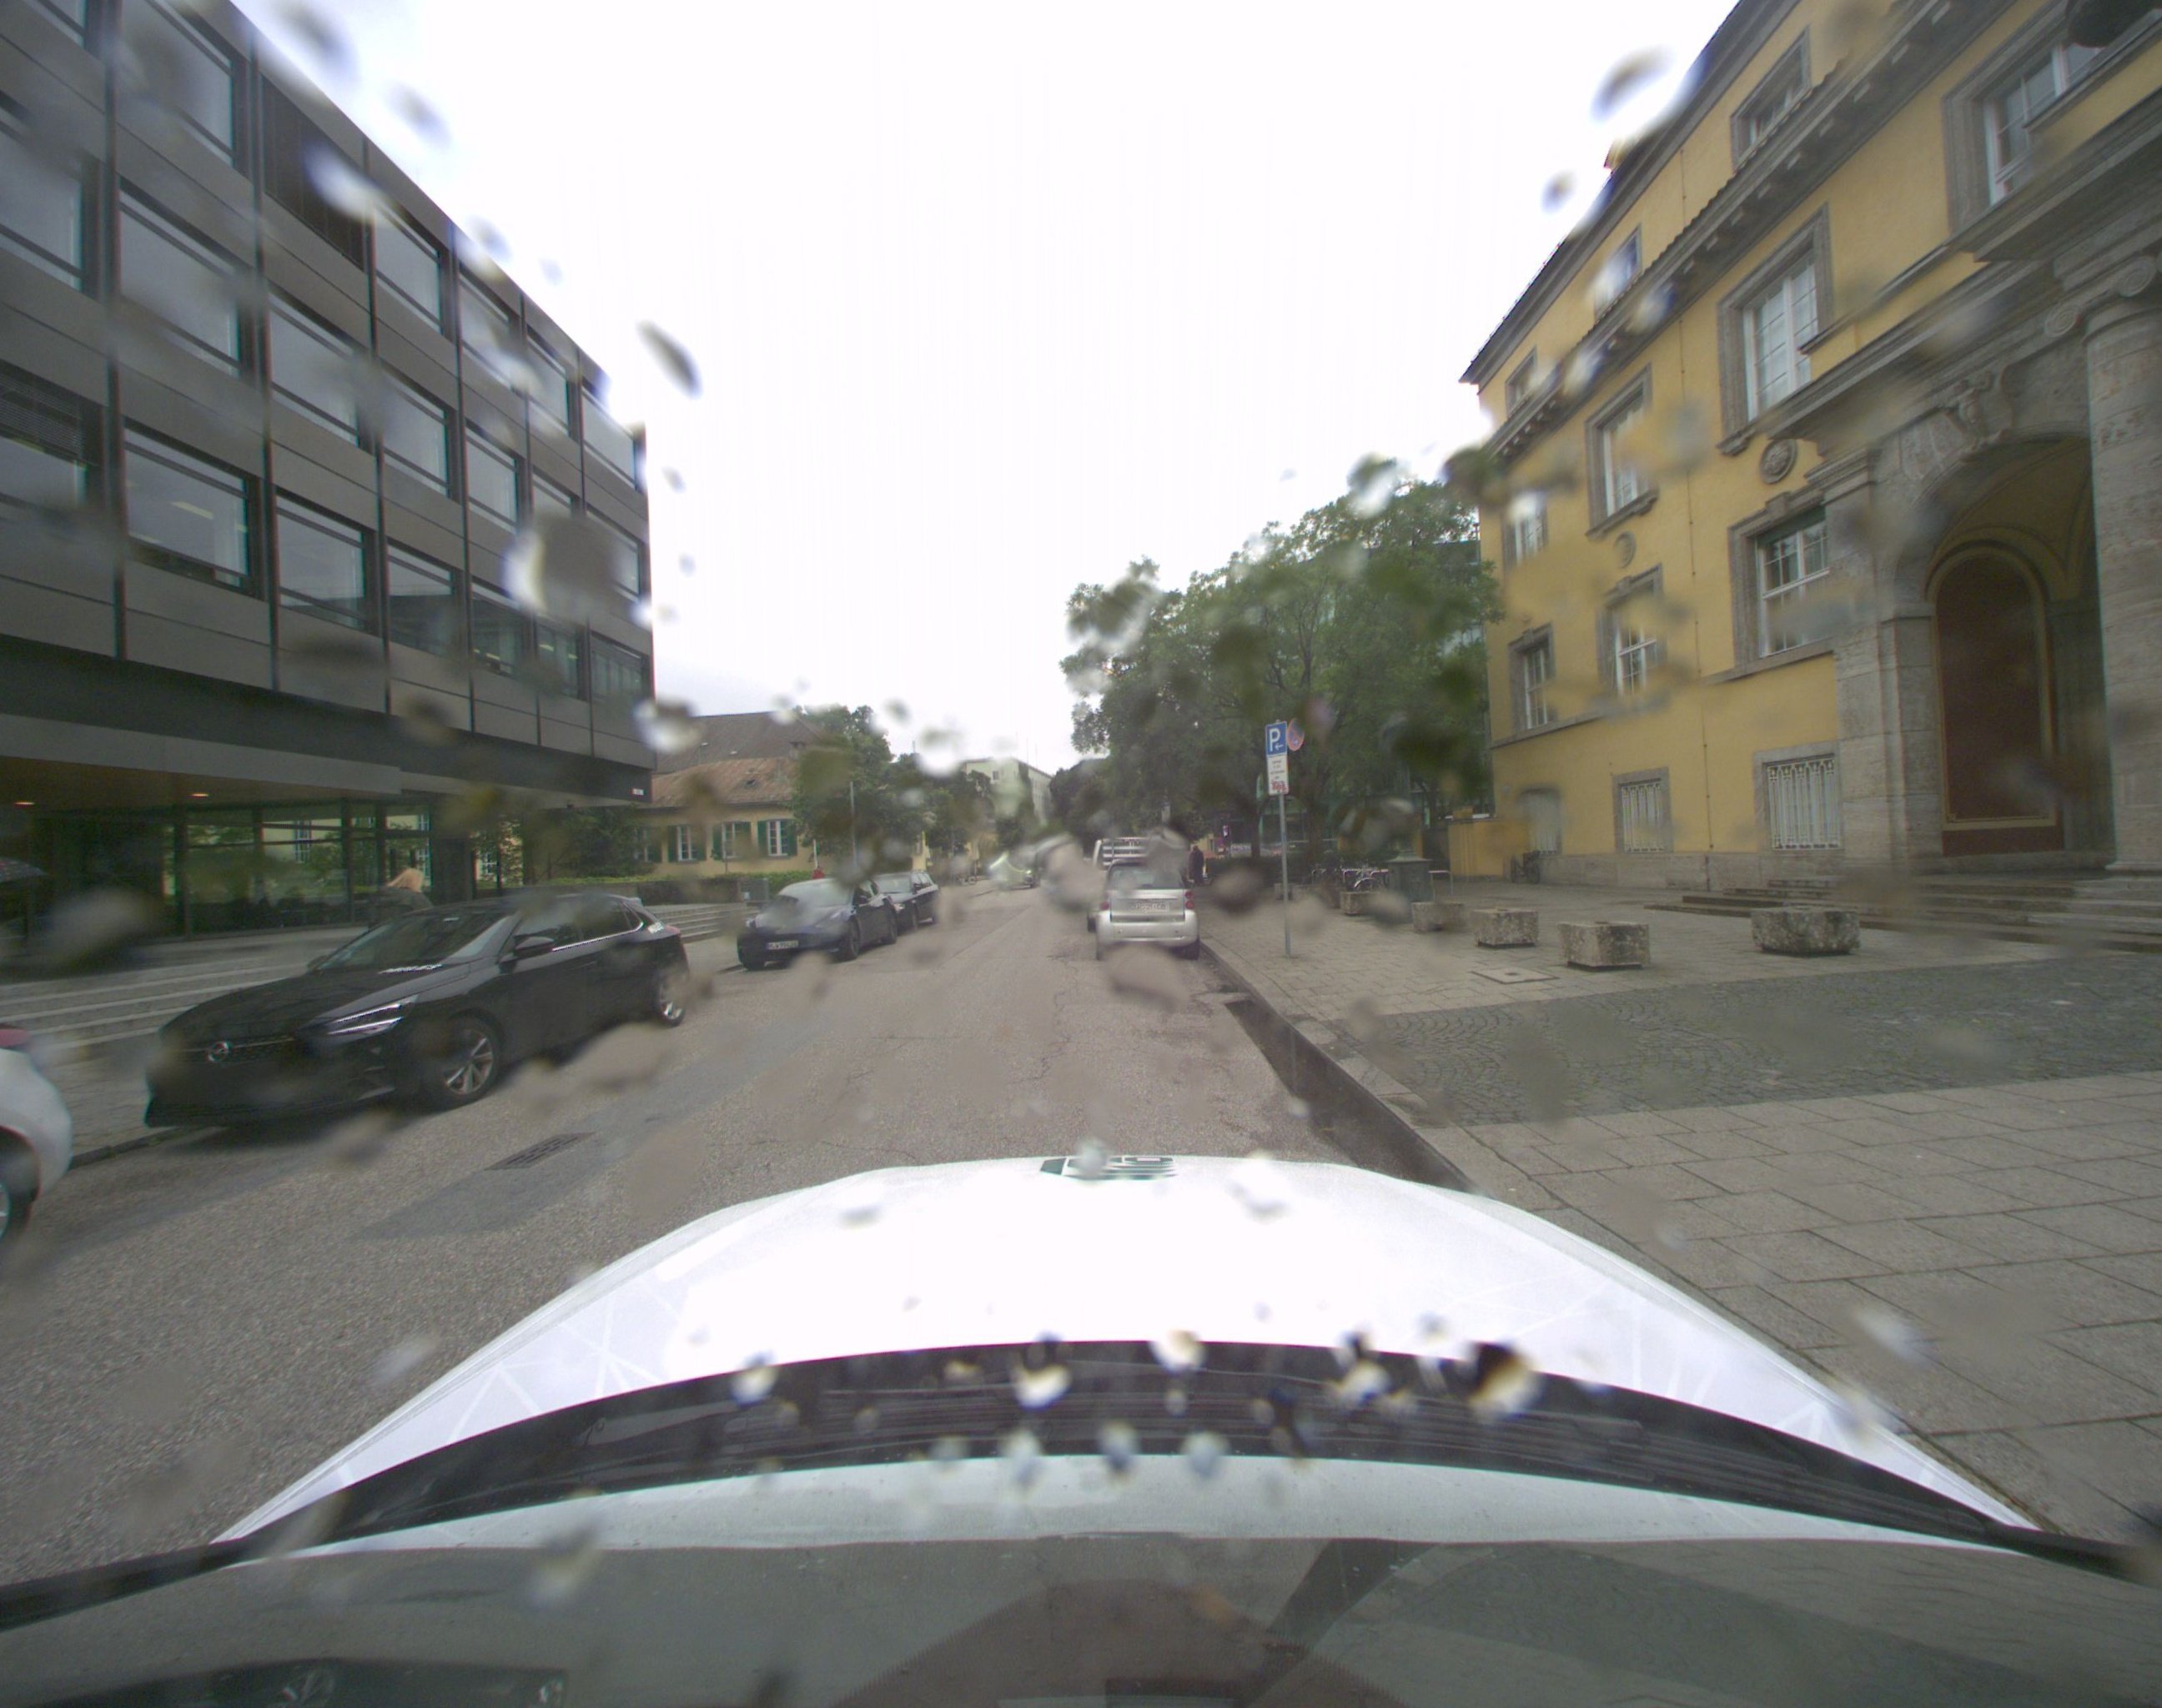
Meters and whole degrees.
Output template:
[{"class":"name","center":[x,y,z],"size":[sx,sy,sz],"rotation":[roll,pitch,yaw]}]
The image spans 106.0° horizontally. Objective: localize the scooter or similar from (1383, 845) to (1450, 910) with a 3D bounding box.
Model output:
[{"class":"scooter or similar","center":[6.558,0.469,15.941],"size":[0.541,1.222,1.000],"rotation":[-3,-1,-44]}]

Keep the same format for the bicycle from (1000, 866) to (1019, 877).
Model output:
[{"class":"bicycle","center":[-6.725,1.598,76.187],"size":[1.621,0.926,0.646],"rotation":[-2,-2,-23]}]

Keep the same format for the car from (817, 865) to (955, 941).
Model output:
[{"class":"car","center":[-4.696,1.127,20.458],"size":[1.986,1.491,4.886],"rotation":[-4,-1,2]}]

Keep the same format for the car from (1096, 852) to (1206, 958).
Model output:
[{"class":"car","center":[1.067,0.757,13.456],"size":[1.599,1.546,2.934],"rotation":[-1,0,1]}]

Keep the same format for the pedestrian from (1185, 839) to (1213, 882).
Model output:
[{"class":"pedestrian","center":[5.383,0.306,37.244],"size":[0.735,1.907,1.063],"rotation":[-4,-1,37]}]

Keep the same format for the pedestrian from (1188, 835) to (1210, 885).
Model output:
[{"class":"pedestrian","center":[5.221,0.251,36.034],"size":[0.740,2.134,1.056],"rotation":[-3,-1,1]}]

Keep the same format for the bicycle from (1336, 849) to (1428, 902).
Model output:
[{"class":"bicycle","center":[7.062,0.500,19.167],"size":[1.923,1.113,0.472],"rotation":[-4,-1,3]}]

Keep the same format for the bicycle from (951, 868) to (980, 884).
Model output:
[{"class":"bicycle","center":[-8.093,1.513,57.068],"size":[1.922,1.099,0.615],"rotation":[-1,0,4]}]

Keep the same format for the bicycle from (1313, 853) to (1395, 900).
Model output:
[{"class":"bicycle","center":[7.188,0.584,21.487],"size":[1.923,1.113,0.472],"rotation":[-4,-1,3]}]

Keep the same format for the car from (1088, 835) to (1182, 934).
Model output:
[{"class":"car","center":[1.075,0.617,18.560],"size":[1.839,1.933,5.272],"rotation":[0,0,0]}]

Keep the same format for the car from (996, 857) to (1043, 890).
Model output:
[{"class":"car","center":[-3.474,1.057,46.795],"size":[2.016,1.689,4.680],"rotation":[-3,0,3]}]

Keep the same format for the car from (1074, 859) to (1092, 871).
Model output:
[{"class":"car","center":[0.335,1.471,111.870],"size":[1.983,1.486,4.007],"rotation":[-3,0,6]}]

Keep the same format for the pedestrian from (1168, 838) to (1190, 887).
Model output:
[{"class":"pedestrian","center":[4.383,0.385,36.377],"size":[0.740,2.134,1.056],"rotation":[-3,-1,1]}]

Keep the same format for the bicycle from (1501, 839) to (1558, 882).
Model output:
[{"class":"bicycle","center":[12.877,0.179,23.441],"size":[0.540,1.154,1.902],"rotation":[-3,0,0]}]

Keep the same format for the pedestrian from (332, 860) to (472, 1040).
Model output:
[{"class":"pedestrian","center":[-7.146,0.963,8.629],"size":[0.754,1.749,0.948],"rotation":[-2,-1,-15]}]

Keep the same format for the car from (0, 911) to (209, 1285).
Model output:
[{"class":"car","center":[-5.238,1.065,1.862],"size":[1.675,1.440,4.281],"rotation":[-5,-1,2]}]

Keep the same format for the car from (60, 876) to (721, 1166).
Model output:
[{"class":"car","center":[-5.008,1.045,6.898],"size":[1.733,1.461,4.240],"rotation":[-5,0,3]}]

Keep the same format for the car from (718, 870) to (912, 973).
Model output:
[{"class":"car","center":[-4.670,1.103,15.194],"size":[1.917,1.439,4.917],"rotation":[-5,-1,0]}]

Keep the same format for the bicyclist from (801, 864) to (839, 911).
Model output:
[{"class":"bicyclist","center":[-8.736,1.111,27.293],"size":[1.097,1.498,0.668],"rotation":[-2,-2,-25]}]

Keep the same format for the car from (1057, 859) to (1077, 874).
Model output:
[{"class":"car","center":[-1.591,1.442,94.045],"size":[1.985,1.603,4.003],"rotation":[-2,-1,3]}]

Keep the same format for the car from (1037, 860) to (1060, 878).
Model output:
[{"class":"car","center":[-3.026,1.371,76.391],"size":[1.726,1.581,3.792],"rotation":[0,0,4]}]

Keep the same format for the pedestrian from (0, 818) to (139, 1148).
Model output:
[{"class":"pedestrian","center":[-7.302,0.813,5.196],"size":[1.131,2.055,1.221],"rotation":[-1,-1,0]}]

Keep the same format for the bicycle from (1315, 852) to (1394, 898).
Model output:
[{"class":"bicycle","center":[7.475,0.566,22.274],"size":[1.924,1.113,0.471],"rotation":[-4,-1,2]}]

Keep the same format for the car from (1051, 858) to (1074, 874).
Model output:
[{"class":"car","center":[-2.026,1.291,88.970],"size":[1.984,1.648,4.661],"rotation":[-3,0,4]}]

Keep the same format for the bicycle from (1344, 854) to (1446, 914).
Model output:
[{"class":"bicycle","center":[6.635,0.621,17.231],"size":[1.926,1.113,0.471],"rotation":[-4,-1,-2]}]
